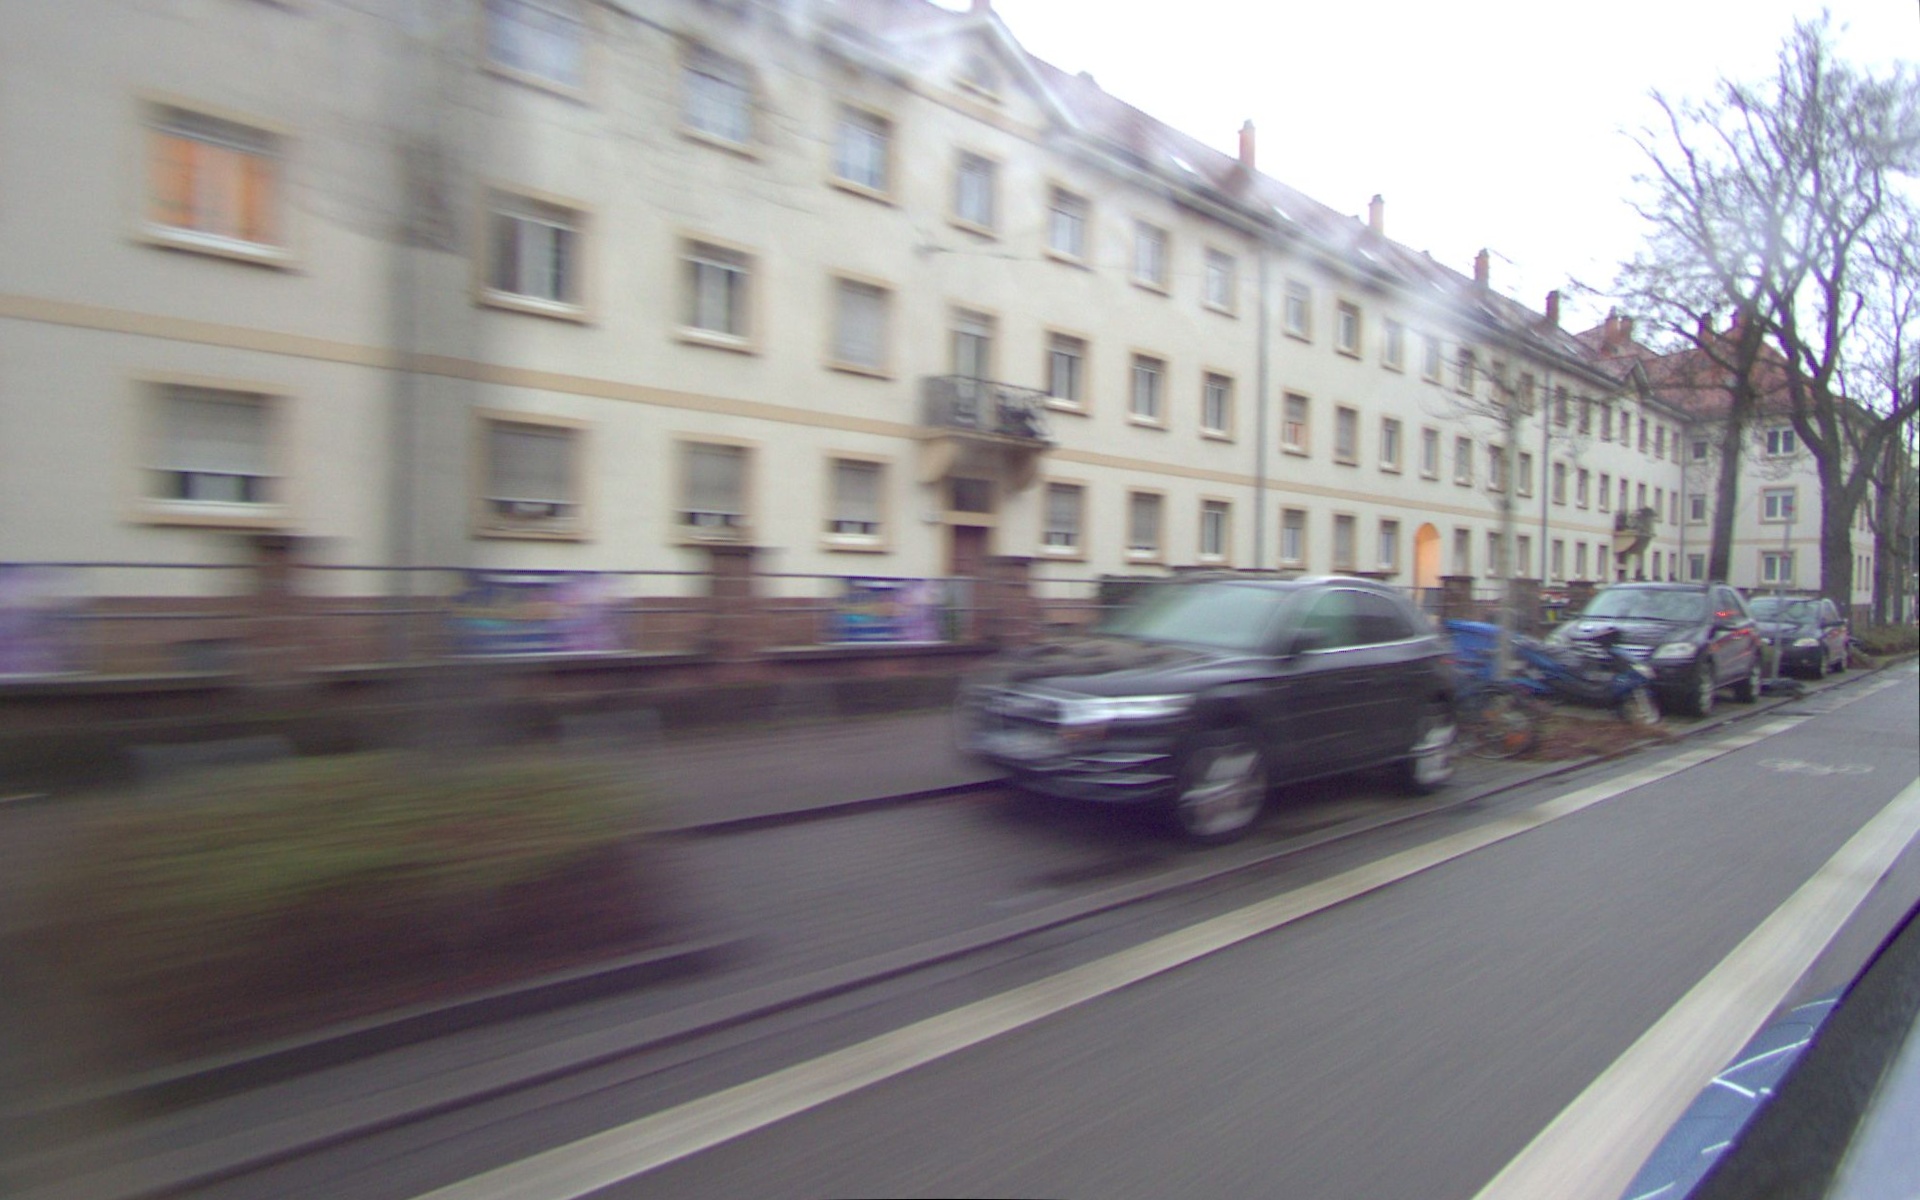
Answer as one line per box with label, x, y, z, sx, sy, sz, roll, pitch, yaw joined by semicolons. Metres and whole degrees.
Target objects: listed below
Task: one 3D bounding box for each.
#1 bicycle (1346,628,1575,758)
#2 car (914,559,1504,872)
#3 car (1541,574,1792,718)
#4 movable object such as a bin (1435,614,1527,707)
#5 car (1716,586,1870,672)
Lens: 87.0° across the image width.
bicycle;4.897;0.865;10.075;0.456;0.927;2.022;0;6;-34
car;2.028;0.556;7.439;4.479;1.630;1.910;-1;2;-39
car;10.388;0.524;14.730;4.817;1.749;1.909;-1;2;-41
movable object such as a bin;6.208;0.706;12.066;0.752;0.965;0.560;9;6;44
car;16.807;0.495;20.367;3.918;1.528;1.788;-1;2;-41
